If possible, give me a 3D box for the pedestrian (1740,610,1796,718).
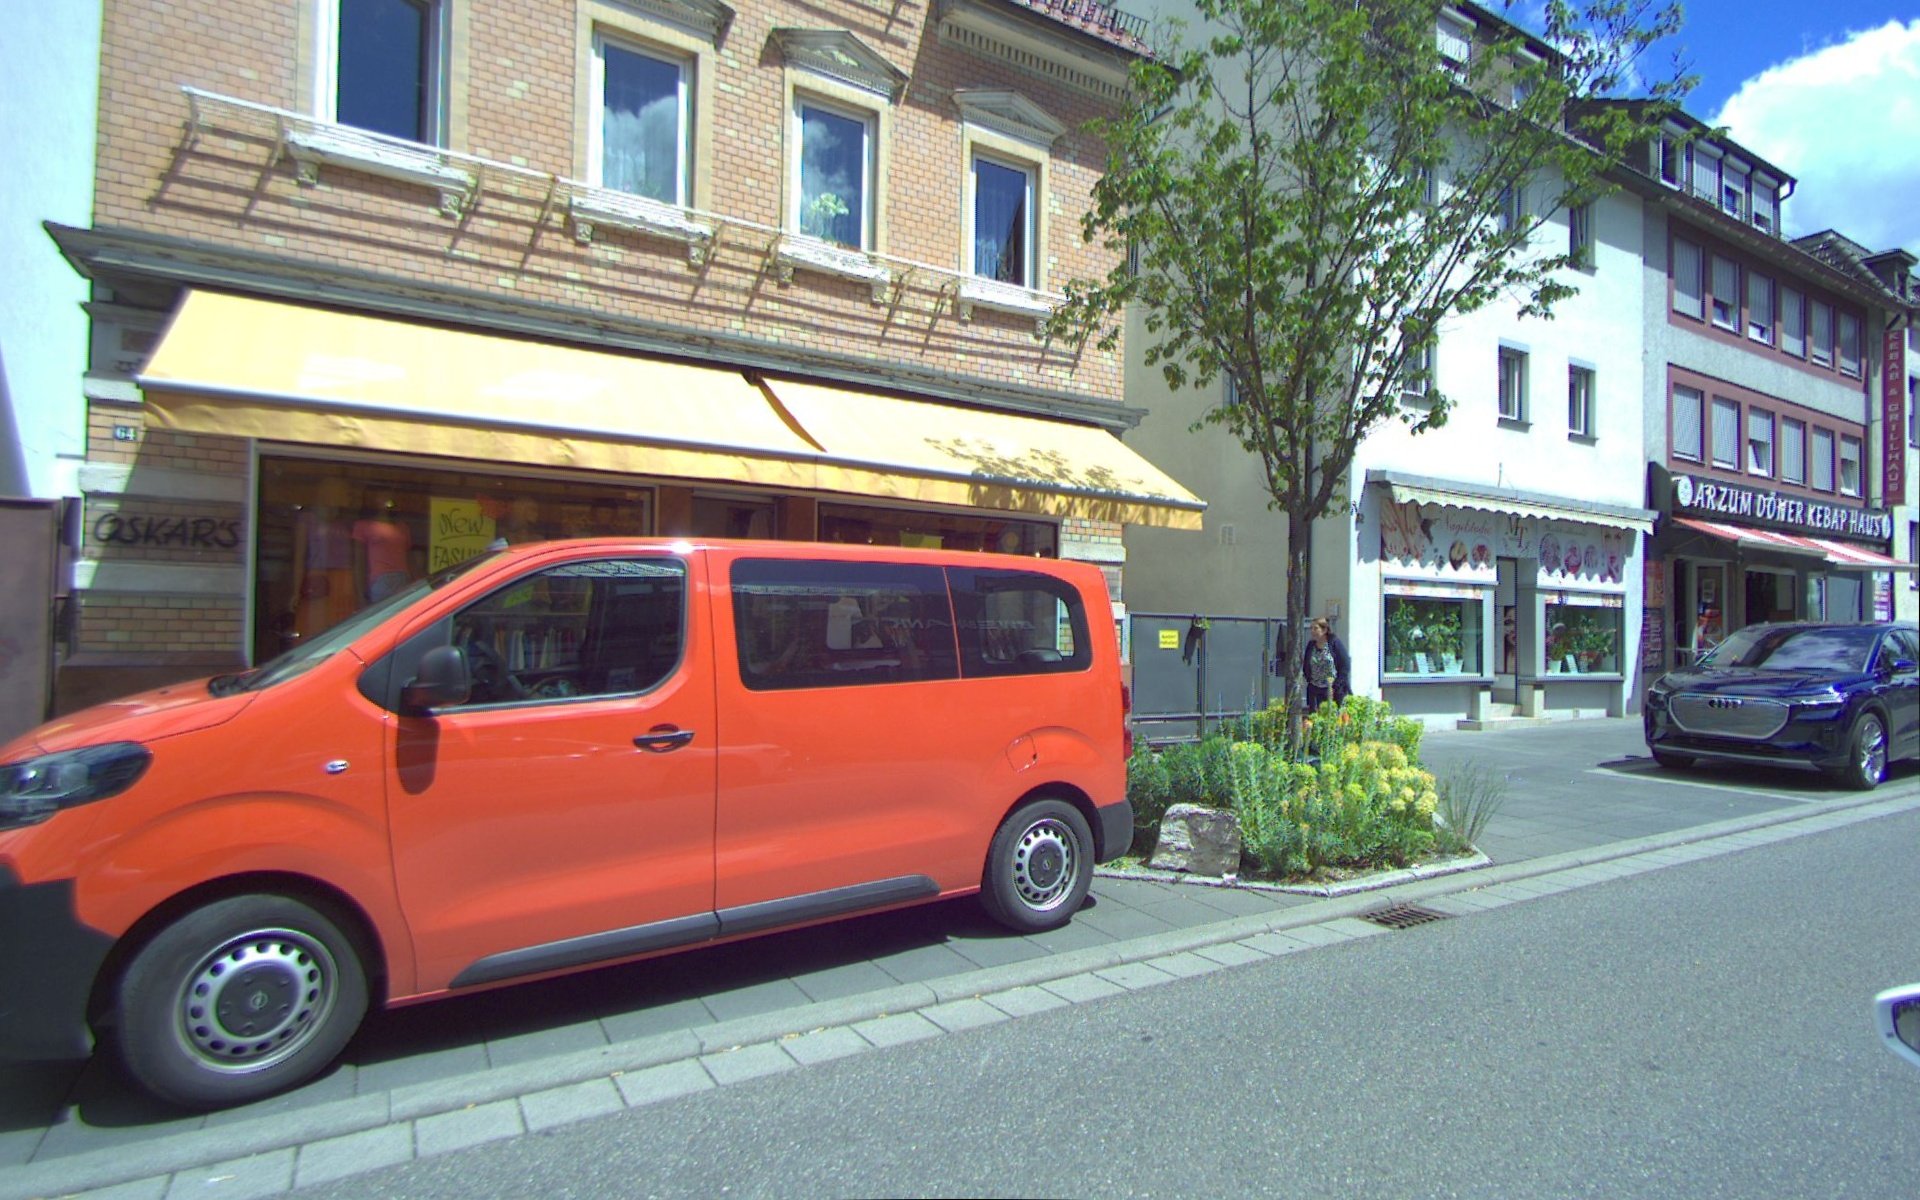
[{"bbox_3d":[12.789,1.005,15.900,0.568,1.670,0.498,2,0,-32],"label":"pedestrian"}]

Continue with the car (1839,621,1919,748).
[{"bbox_3d":[14.121,1.130,13.985,4.306,1.625,1.789,1,-2,-34],"label":"car"}]

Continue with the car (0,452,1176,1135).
[{"bbox_3d":[-1.349,0.612,4.790,4.790,1.913,1.805,2,-1,-34],"label":"car"}]

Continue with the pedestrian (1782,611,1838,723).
[{"bbox_3d":[13.033,1.010,15.399,0.466,1.670,0.511,2,0,-32],"label":"pedestrian"}]

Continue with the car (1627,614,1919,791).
[{"bbox_3d":[9.457,0.996,11.097,4.337,1.619,1.791,1,-1,-30],"label":"car"}]

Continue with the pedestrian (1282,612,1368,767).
[{"bbox_3d":[4.054,0.970,11.176,0.654,1.654,0.586,2,0,-30],"label":"pedestrian"}]
